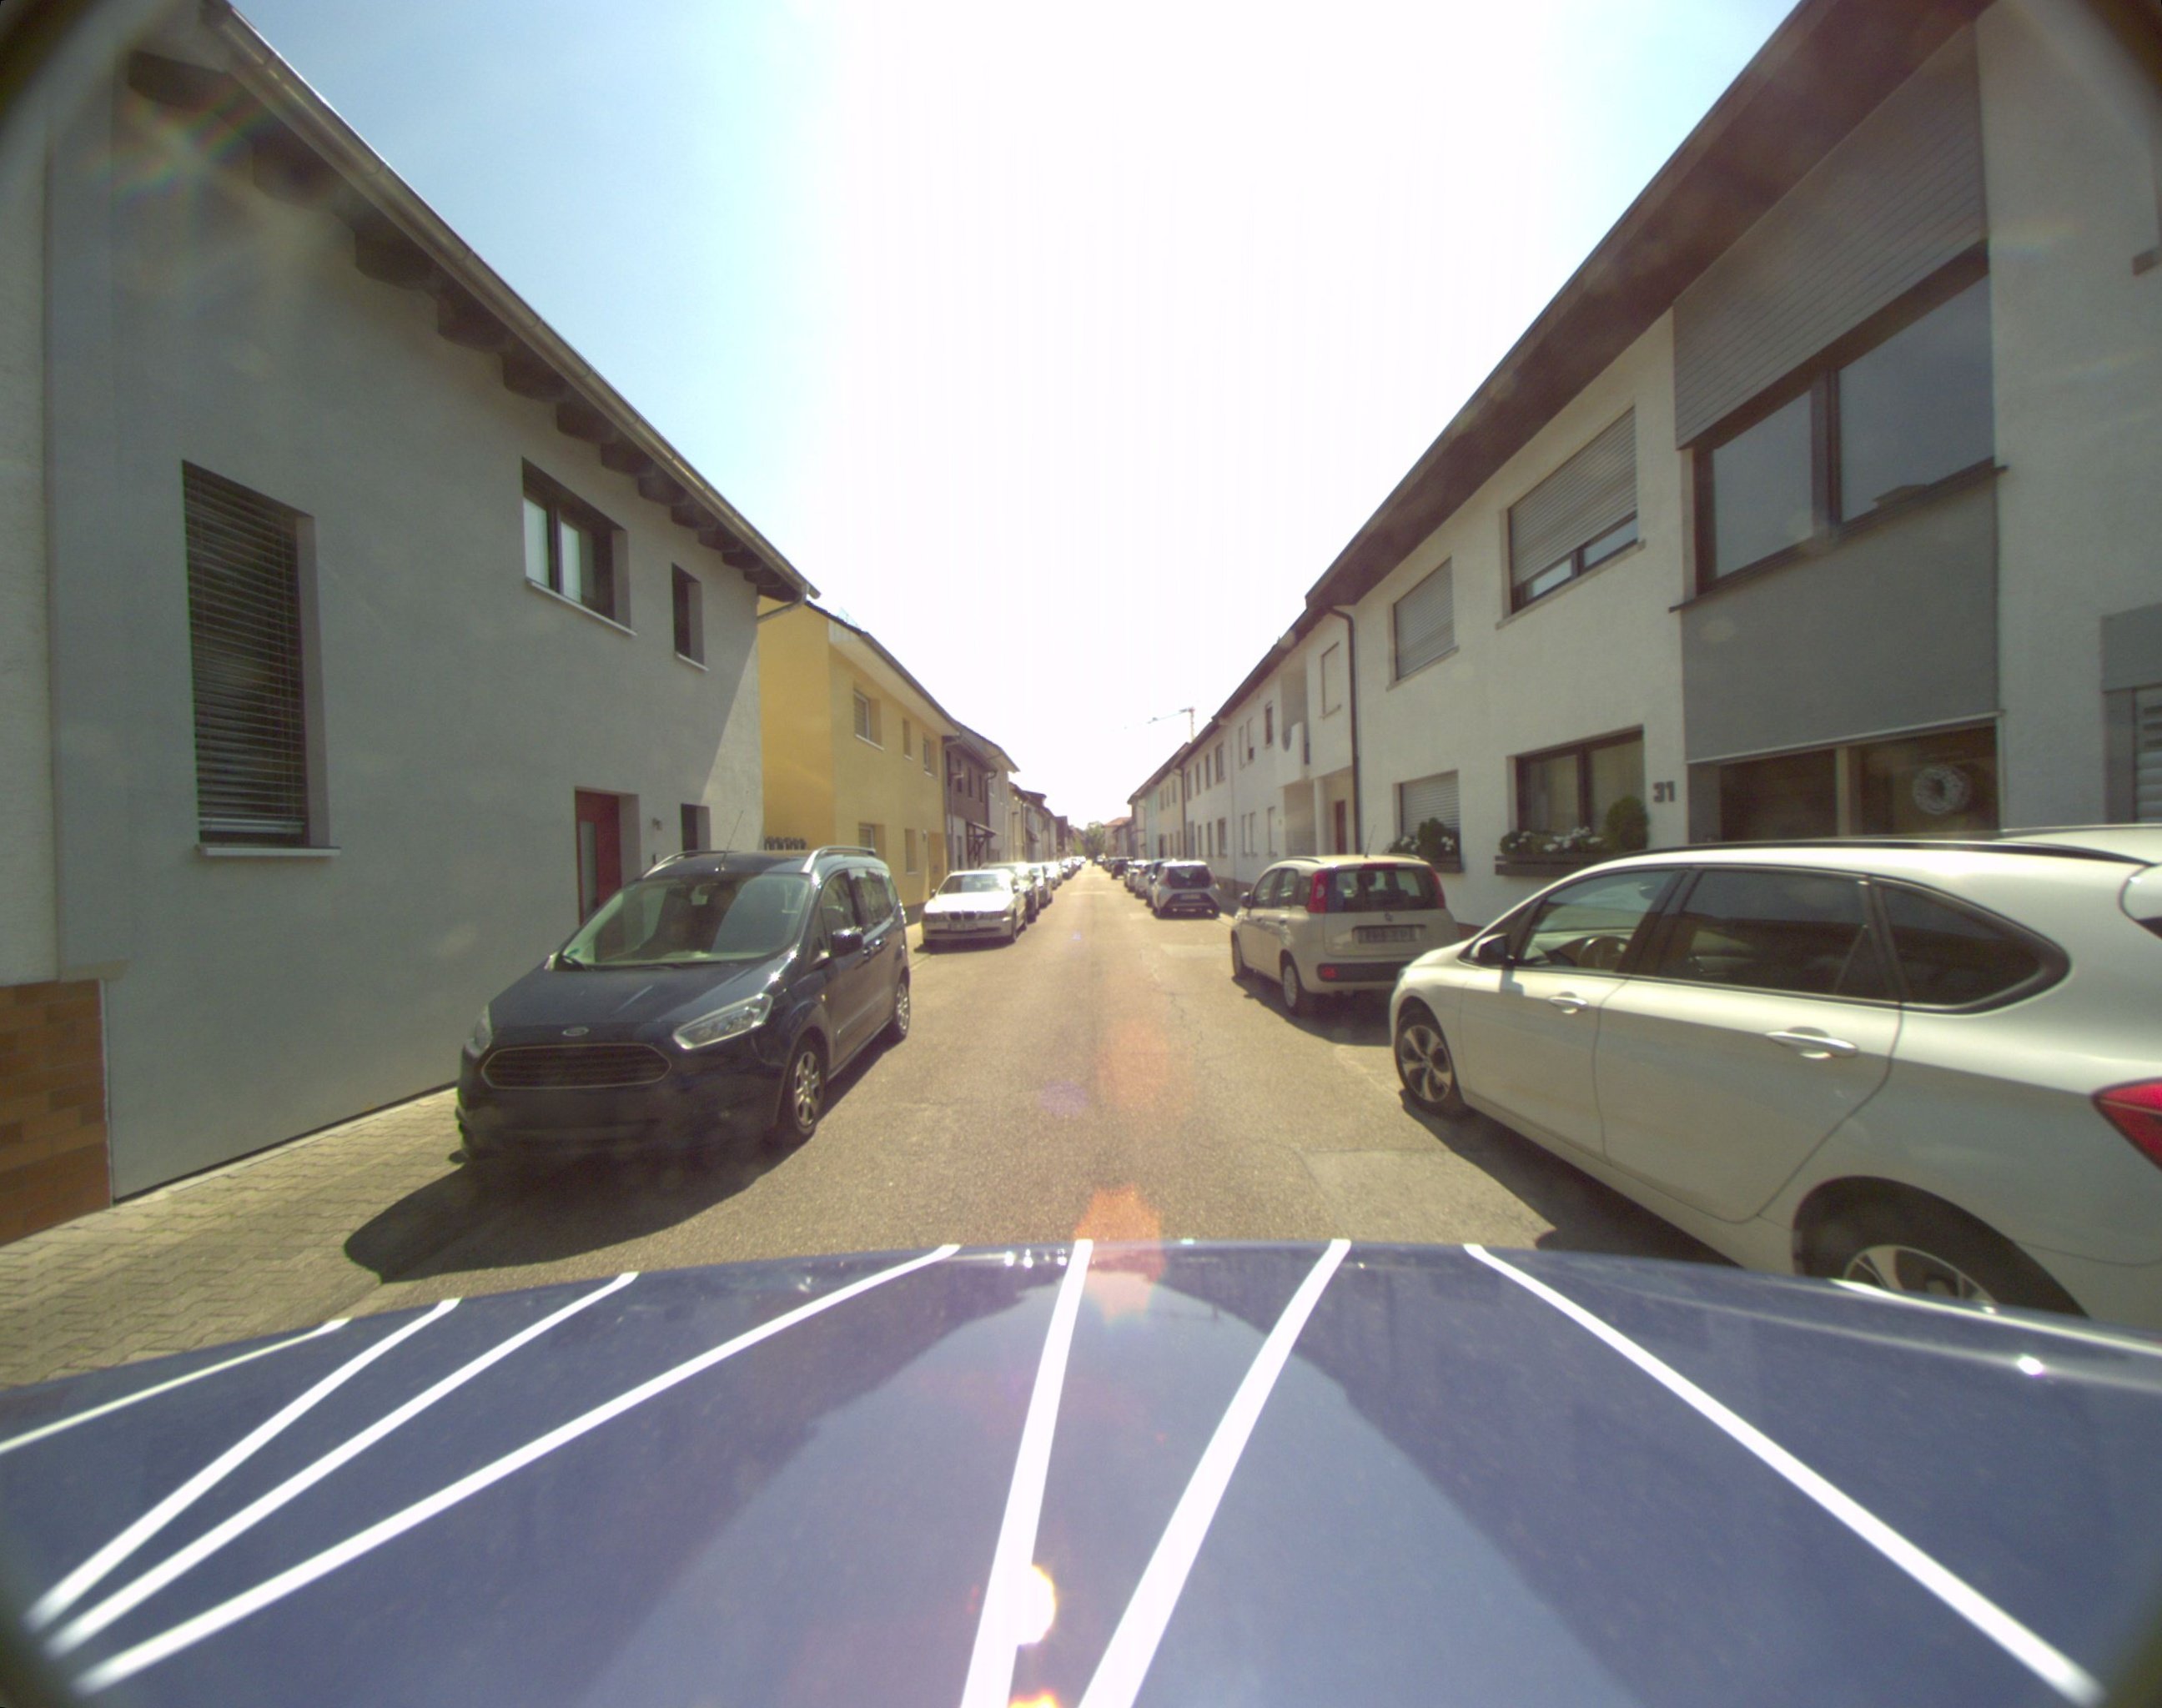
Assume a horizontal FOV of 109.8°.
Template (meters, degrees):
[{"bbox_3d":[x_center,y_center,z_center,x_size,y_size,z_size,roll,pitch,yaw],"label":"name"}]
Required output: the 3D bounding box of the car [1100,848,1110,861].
[{"bbox_3d":[3.751,0.097,119.427,1.414,1.932,3.528,-1,0,1],"label":"car"}]

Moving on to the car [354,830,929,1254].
[{"bbox_3d":[-2.451,1.001,5.584,1.701,1.765,4.202,-5,-4,-1],"label":"car"}]

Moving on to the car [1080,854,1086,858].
[{"bbox_3d":[0.602,0.490,186.391,1.414,1.111,3.324,-1,0,1],"label":"car"}]

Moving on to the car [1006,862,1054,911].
[{"bbox_3d":[-1.755,1.088,26.880,1.403,1.518,3.398,-3,0,0],"label":"car"}]

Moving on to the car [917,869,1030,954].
[{"bbox_3d":[-2.087,1.084,15.844,1.666,1.406,4.248,-1,0,1],"label":"car"}]

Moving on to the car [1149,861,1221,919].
[{"bbox_3d":[2.807,0.940,21.052,1.606,1.434,3.214,-1,0,2],"label":"car"}]

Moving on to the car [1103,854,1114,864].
[{"bbox_3d":[3.806,0.652,106.433,1.414,1.389,3.324,-1,0,1],"label":"car"}]

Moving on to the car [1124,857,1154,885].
[{"bbox_3d":[3.199,0.936,42.367,1.414,1.446,3.542,-1,0,0],"label":"car"}]

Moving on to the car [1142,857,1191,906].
[{"bbox_3d":[2.869,0.878,25.902,1.414,1.519,3.025,-1,0,2],"label":"car"}]

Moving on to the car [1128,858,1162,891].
[{"bbox_3d":[3.019,0.934,36.554,1.414,1.446,3.543,-1,0,2],"label":"car"}]

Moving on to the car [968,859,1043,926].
[{"bbox_3d":[-2.005,0.996,21.123,1.684,1.575,3.961,-3,0,-1],"label":"car"}]

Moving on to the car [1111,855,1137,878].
[{"bbox_3d":[3.261,0.936,58.149,1.818,1.598,3.887,-1,0,0],"label":"car"}]

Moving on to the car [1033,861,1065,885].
[{"bbox_3d":[-1.984,1.174,48.452,1.761,1.351,4.045,-3,0,1],"label":"car"}]

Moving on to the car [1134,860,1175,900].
[{"bbox_3d":[2.954,1.018,30.990,1.414,1.446,3.462,-1,0,2],"label":"car"}]

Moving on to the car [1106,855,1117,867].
[{"bbox_3d":[3.936,0.906,98.578,1.414,1.582,3.324,-1,0,1],"label":"car"}]

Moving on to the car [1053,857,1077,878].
[{"bbox_3d":[-1.256,1.094,61.356,1.736,1.502,3.624,-3,0,1],"label":"car"}]

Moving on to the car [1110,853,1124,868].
[{"bbox_3d":[4.039,0.701,84.747,1.414,1.582,3.543,-1,0,1],"label":"car"}]

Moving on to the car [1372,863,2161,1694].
[{"bbox_3d":[2.788,0.830,2.951,1.667,1.539,3.943,-1,-2,-2],"label":"car"}]

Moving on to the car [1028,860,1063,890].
[{"bbox_3d":[-1.958,1.133,42.954,1.743,1.459,4.045,-3,0,0],"label":"car"}]

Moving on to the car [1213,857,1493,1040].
[{"bbox_3d":[2.696,0.829,8.455,1.667,1.532,3.687,-1,0,-2],"label":"car"}]

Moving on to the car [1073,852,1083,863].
[{"bbox_3d":[-0.477,0.553,115.391,1.414,1.604,3.324,-1,0,1],"label":"car"}]

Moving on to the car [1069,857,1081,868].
[{"bbox_3d":[-0.772,1.066,96.744,1.414,1.389,3.324,-1,0,1],"label":"car"}]
